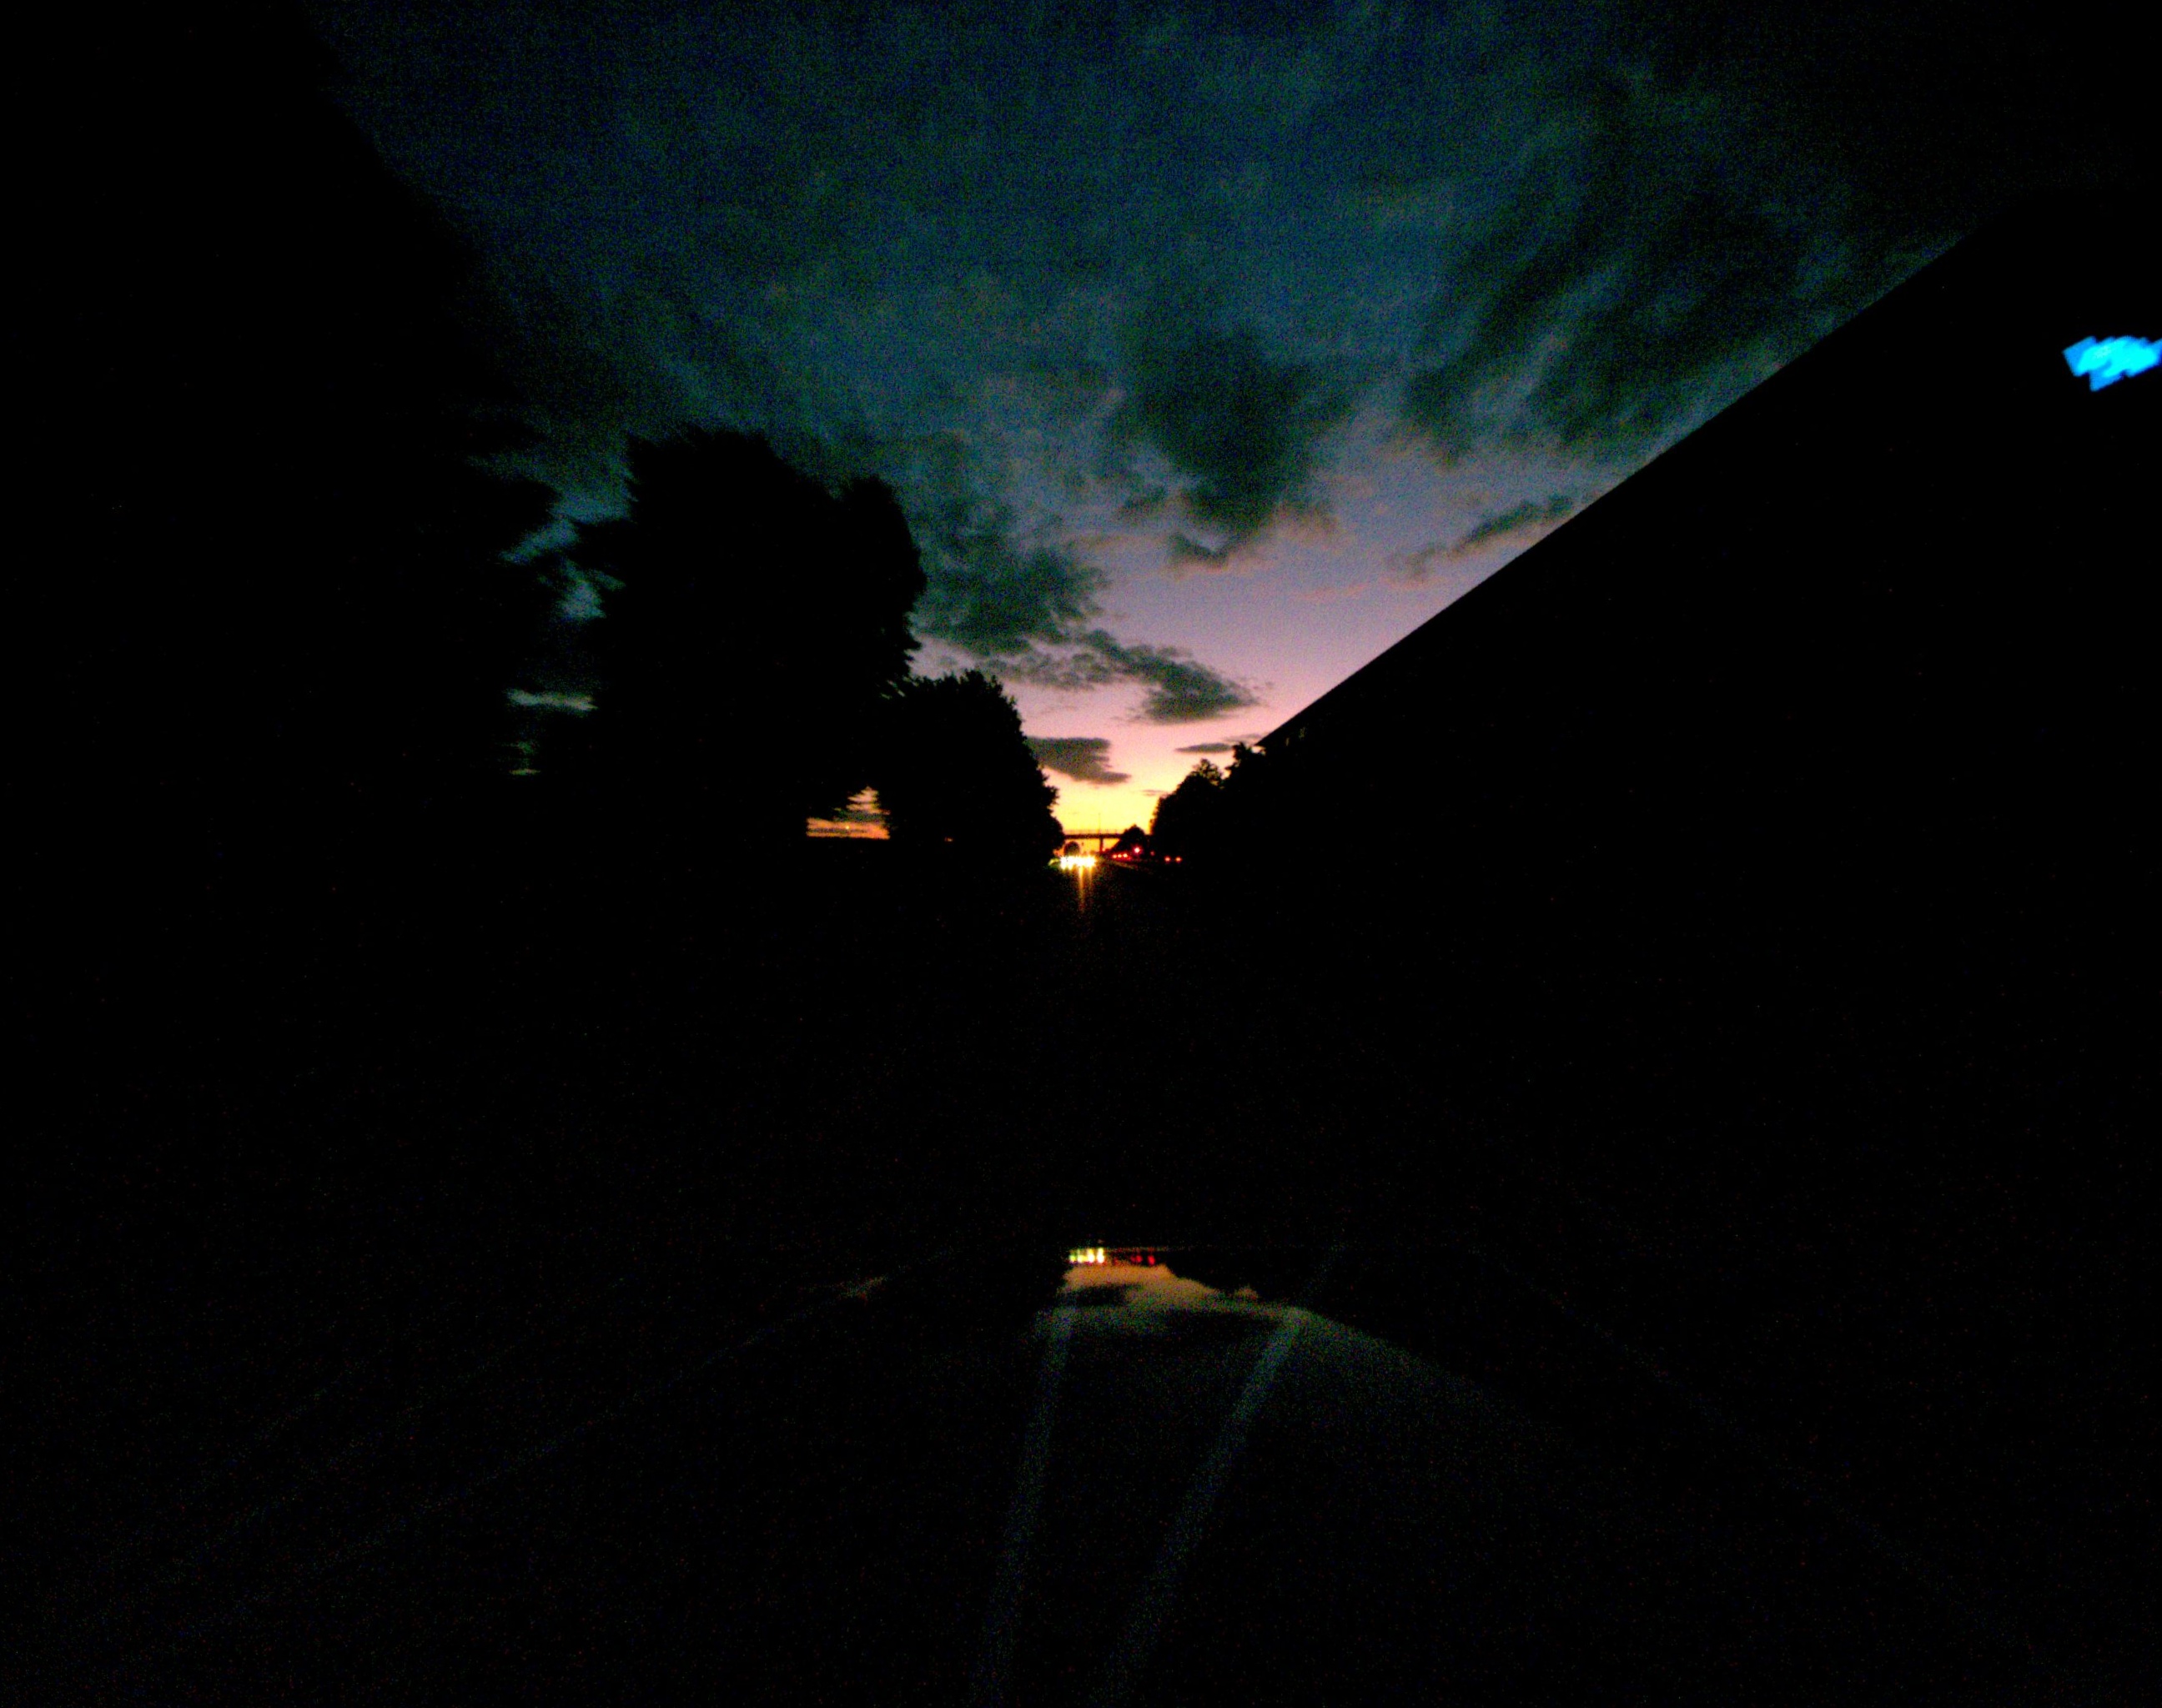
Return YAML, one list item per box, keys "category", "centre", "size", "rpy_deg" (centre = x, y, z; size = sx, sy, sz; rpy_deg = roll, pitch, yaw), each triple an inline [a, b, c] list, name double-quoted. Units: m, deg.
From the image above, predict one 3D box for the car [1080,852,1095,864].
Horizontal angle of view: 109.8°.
- category: "car"
  centre: [0.794, 0.469, 95.794]
  size: [1.755, 1.447, 3.803]
  rpy_deg: [-2, 0, 2]

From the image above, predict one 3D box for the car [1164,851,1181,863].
- category: "car"
  centre: [10.916, 0.402, 90.732]
  size: [1.693, 1.372, 3.571]
  rpy_deg: [-1, 0, 1]
